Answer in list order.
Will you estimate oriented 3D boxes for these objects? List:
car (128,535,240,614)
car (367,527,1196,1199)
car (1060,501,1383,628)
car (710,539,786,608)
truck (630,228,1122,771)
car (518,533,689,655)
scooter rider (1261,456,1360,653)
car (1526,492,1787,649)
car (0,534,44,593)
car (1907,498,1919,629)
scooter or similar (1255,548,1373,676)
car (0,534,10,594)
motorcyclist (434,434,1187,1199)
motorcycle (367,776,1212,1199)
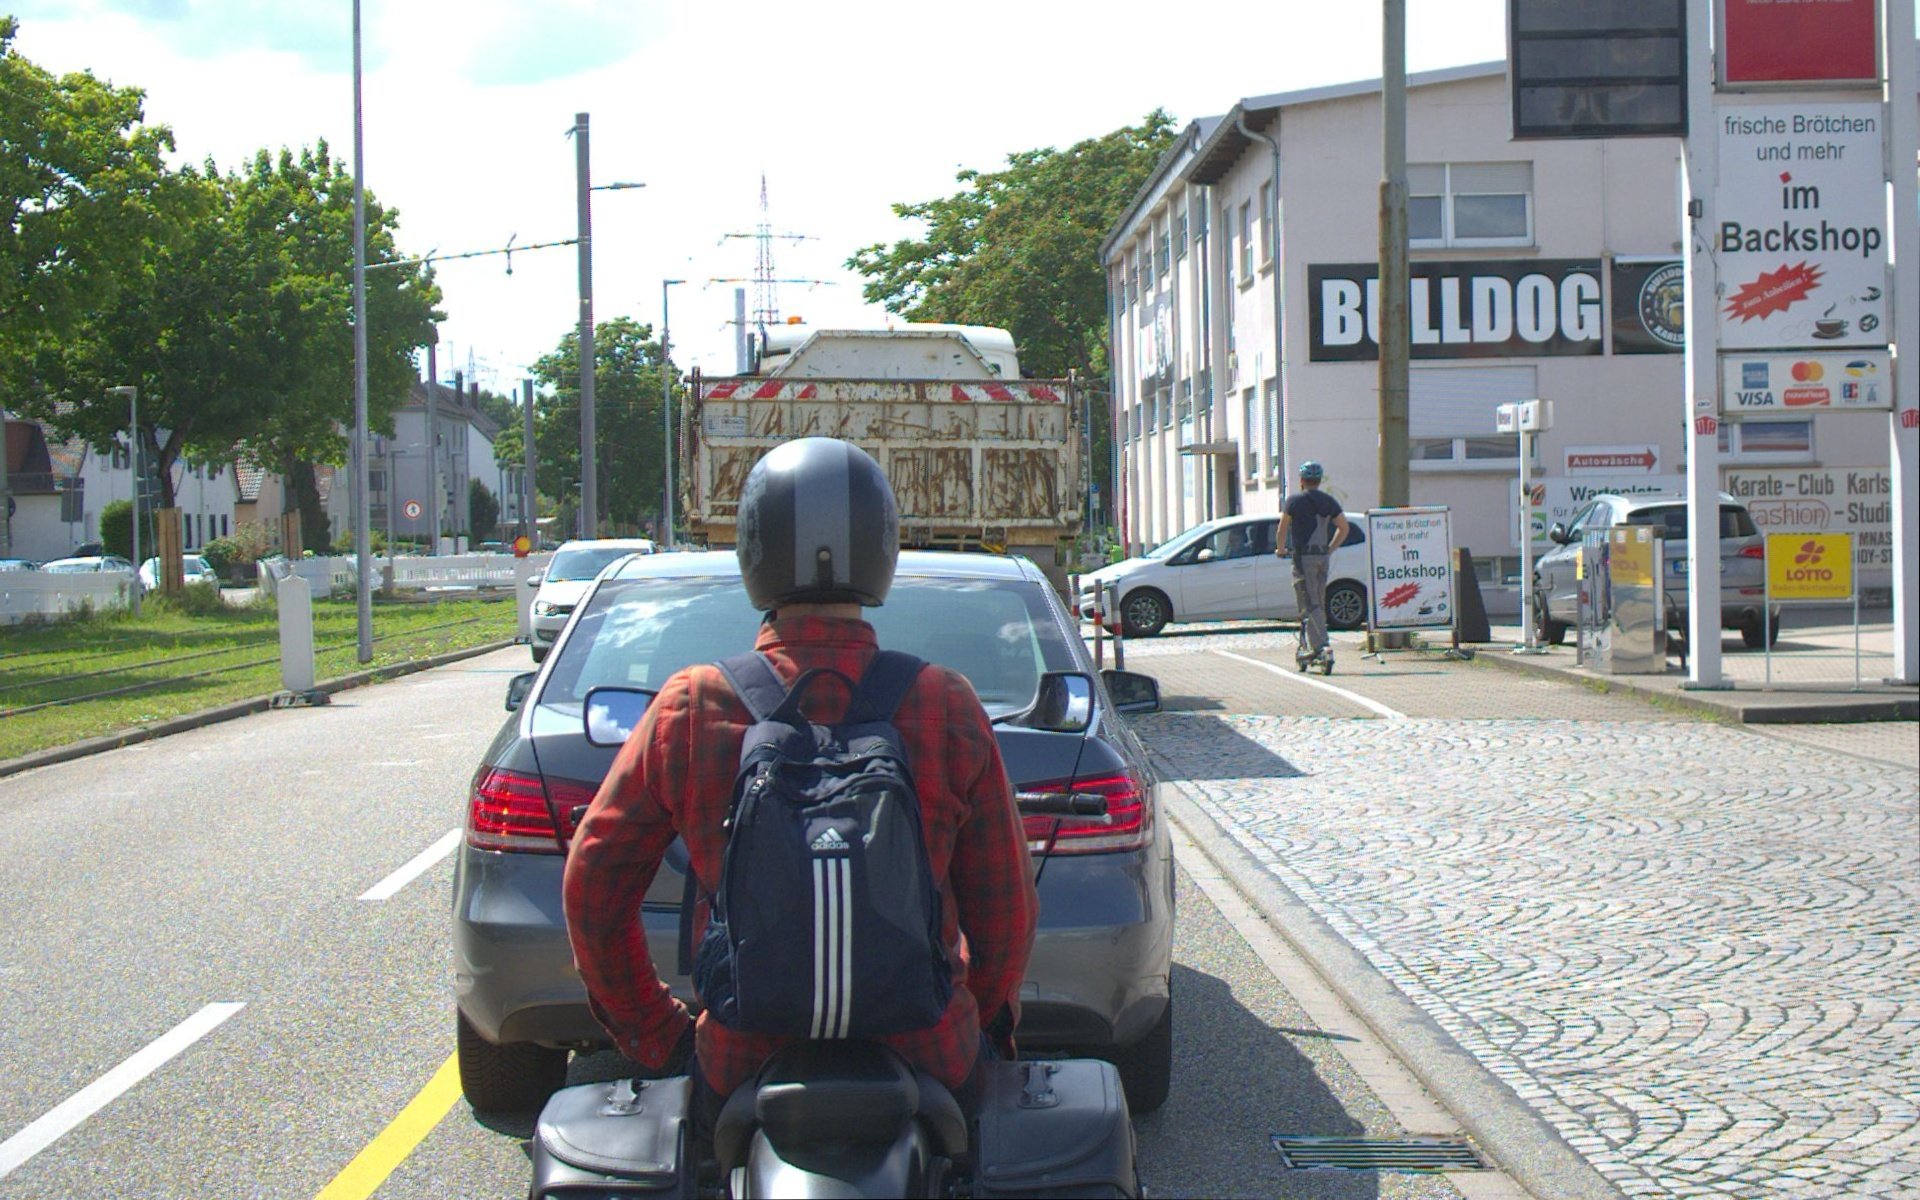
[{"bbox_3d":[-17.944,-0.619,79.661,1.698,1.733,3.860,-1,1,0],"label":"car"},{"bbox_3d":[-0.457,0.553,9.762,1.832,1.474,4.010,-1,1,-2],"label":"car"},{"bbox_3d":[3.549,-0.501,47.027,4.104,1.619,1.686,-1,1,-8],"label":"car"},{"bbox_3d":[-5.277,-0.684,85.819,1.680,1.619,4.119,-1,1,-1],"label":"car"},{"bbox_3d":[-0.634,-0.715,25.464,2.970,3.293,8.408,-1,1,-2],"label":"truck"},{"bbox_3d":[-4.426,-0.109,43.212,1.715,1.409,4.262,-1,1,-1],"label":"car"},{"bbox_3d":[3.294,-0.430,32.320,0.795,1.812,0.508,-1,1,-7],"label":"scooter rider"},{"bbox_3d":[7.349,-0.341,36.642,1.832,1.530,4.010,-1,1,-2],"label":"car"},{"bbox_3d":[-29.270,-1.114,104.583,1.698,1.733,4.062,-1,1,0],"label":"car"},{"bbox_3d":[11.788,-0.401,37.240,1.832,1.474,4.010,-1,1,-2],"label":"car"},{"bbox_3d":[3.308,0.098,32.240,0.795,1.141,1.519,-1,1,-6],"label":"scooter or similar"},{"bbox_3d":[-28.675,-1.002,98.572,1.698,1.733,4.062,-1,1,0],"label":"car"},{"bbox_3d":[-0.205,0.589,5.081,0.969,1.627,1.215,1,1,-1],"label":"motorcyclist"},{"bbox_3d":[-0.215,0.864,5.204,0.976,1.010,2.432,1,1,-1],"label":"motorcycle"}]
